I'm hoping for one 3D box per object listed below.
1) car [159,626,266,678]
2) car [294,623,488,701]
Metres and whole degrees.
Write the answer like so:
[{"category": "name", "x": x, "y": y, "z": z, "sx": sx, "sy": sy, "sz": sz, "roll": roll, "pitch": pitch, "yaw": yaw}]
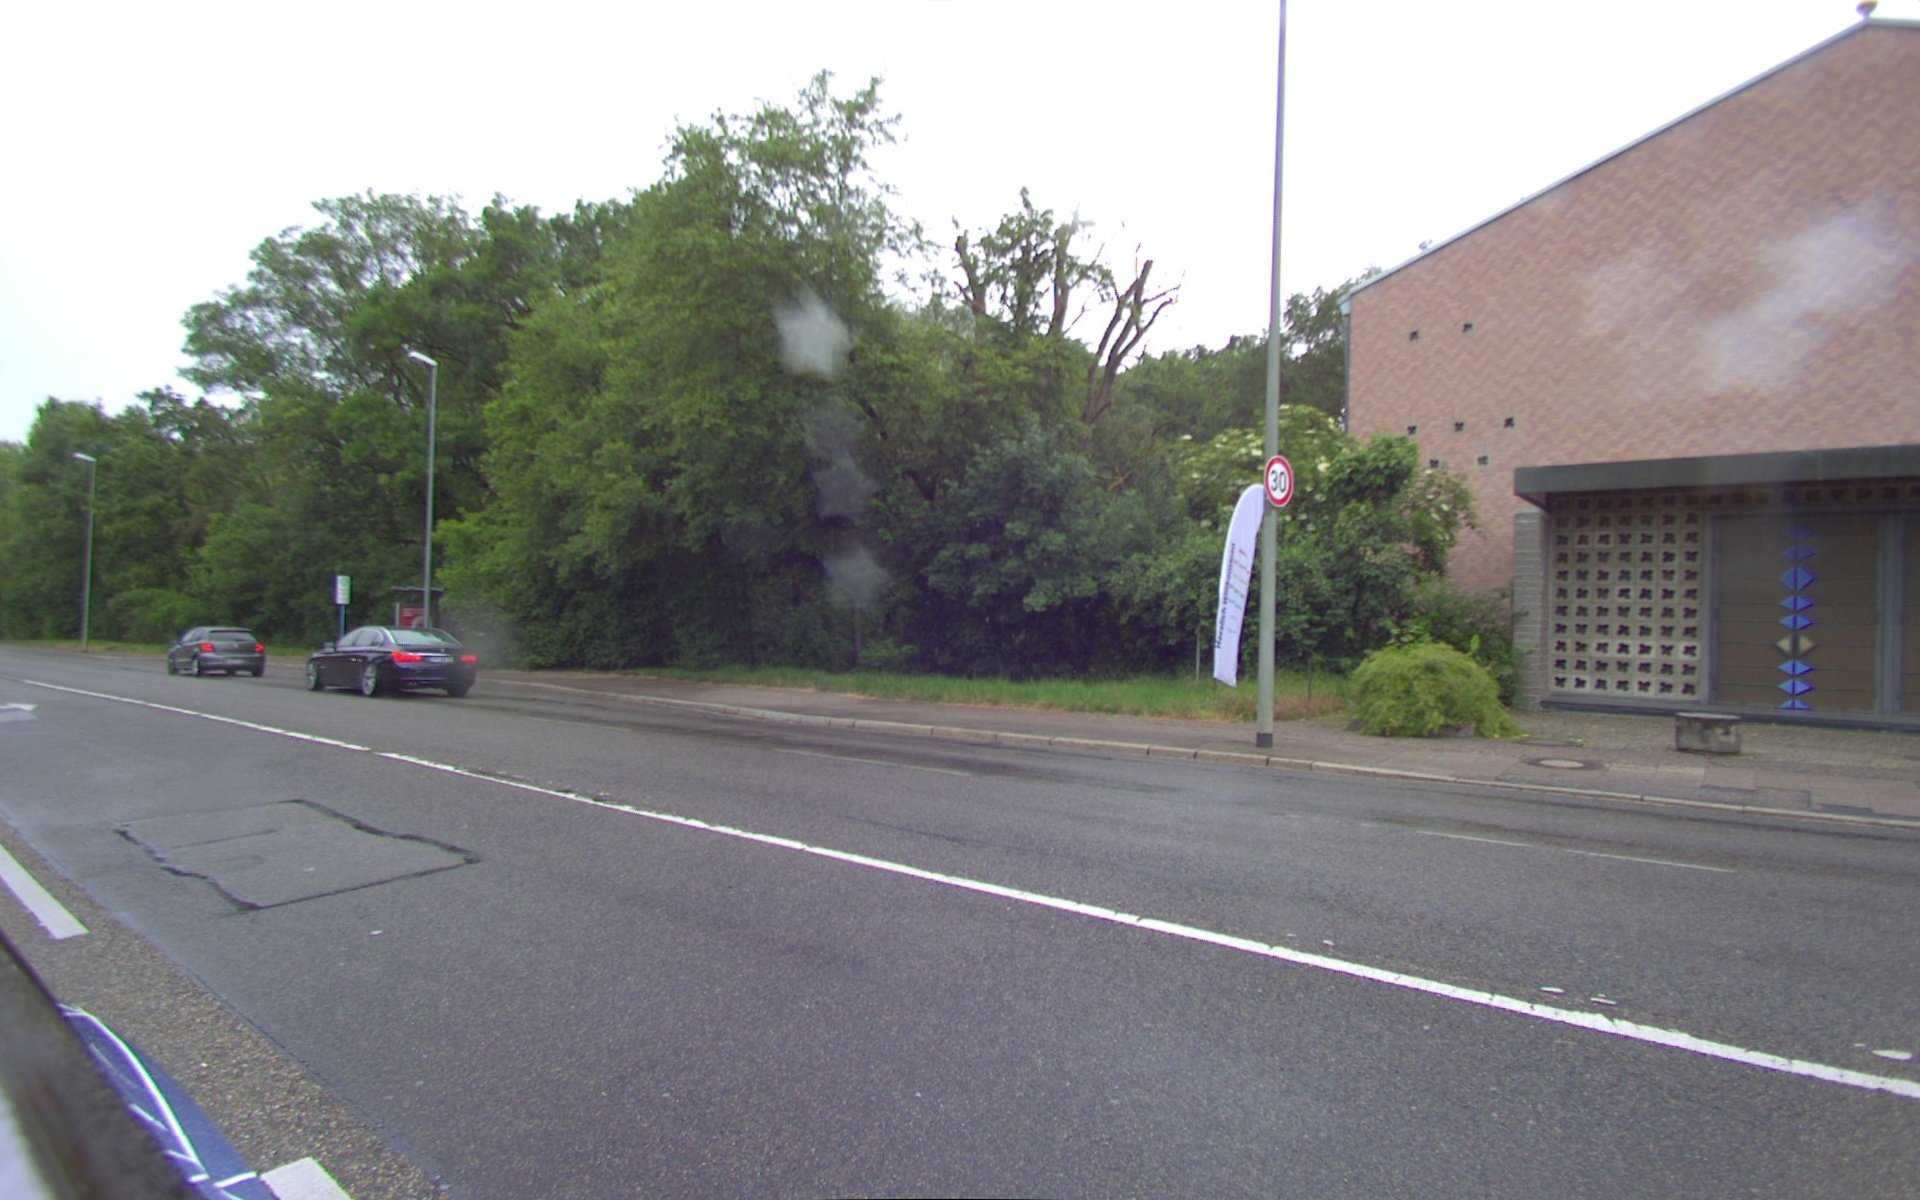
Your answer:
[{"category": "car", "x": -22.061, "y": 1.501, "z": 29.831, "sx": 3.901, "sy": 1.440, "sz": 1.578, "roll": -1, "pitch": -3, "yaw": 39}, {"category": "car", "x": -12.290, "y": 1.295, "z": 21.739, "sx": 4.944, "sy": 1.465, "sz": 1.891, "roll": -1, "pitch": -5, "yaw": 40}]
